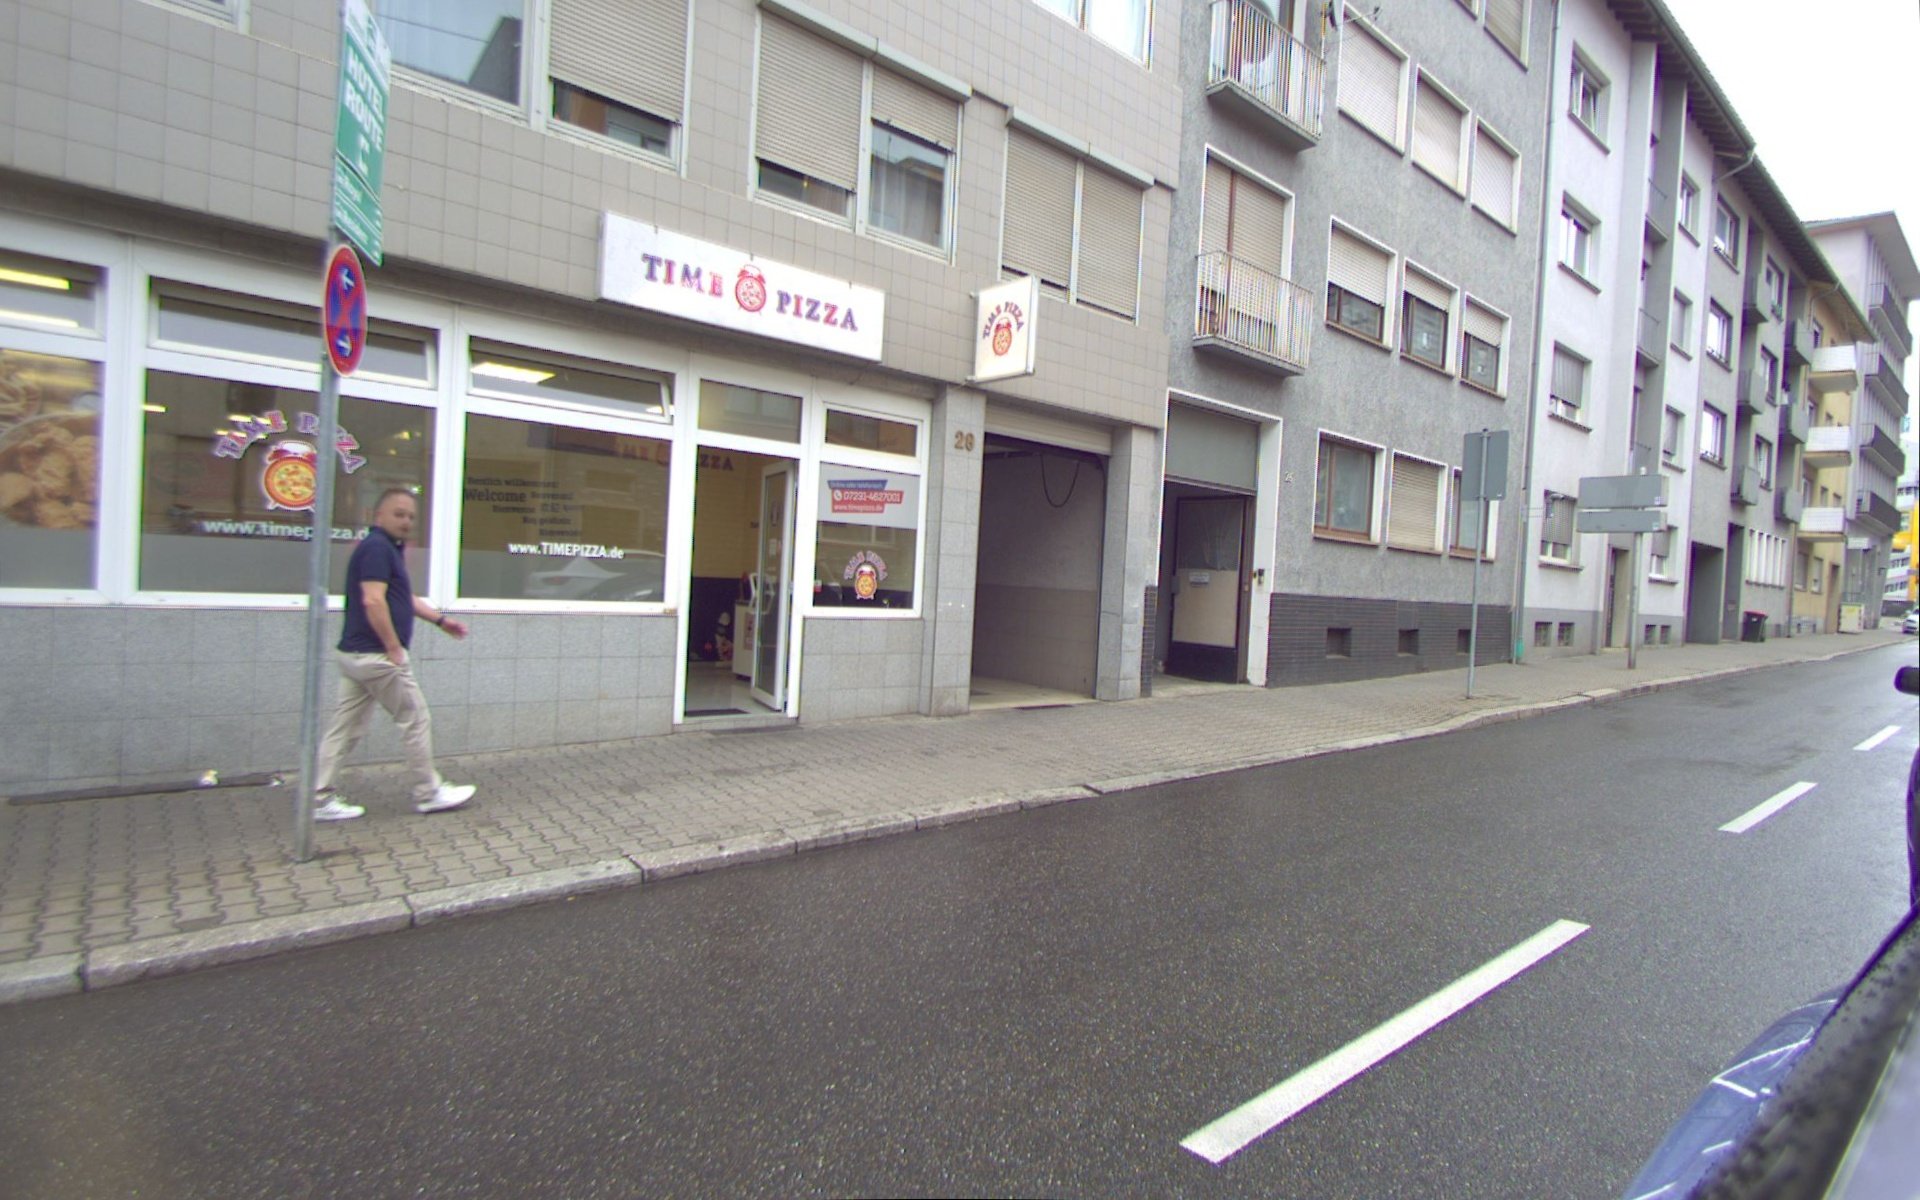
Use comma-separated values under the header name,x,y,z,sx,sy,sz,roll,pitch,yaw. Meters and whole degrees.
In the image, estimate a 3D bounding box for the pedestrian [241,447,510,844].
name,x,y,z,sx,sy,sz,roll,pitch,yaw
pedestrian,-3.164,0.174,5.467,1.100,1.887,0.871,0,7,-41

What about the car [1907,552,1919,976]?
name,x,y,z,sx,sy,sz,roll,pitch,yaw
car,6.035,0.657,4.901,4.144,1.743,1.697,-1,0,-41
